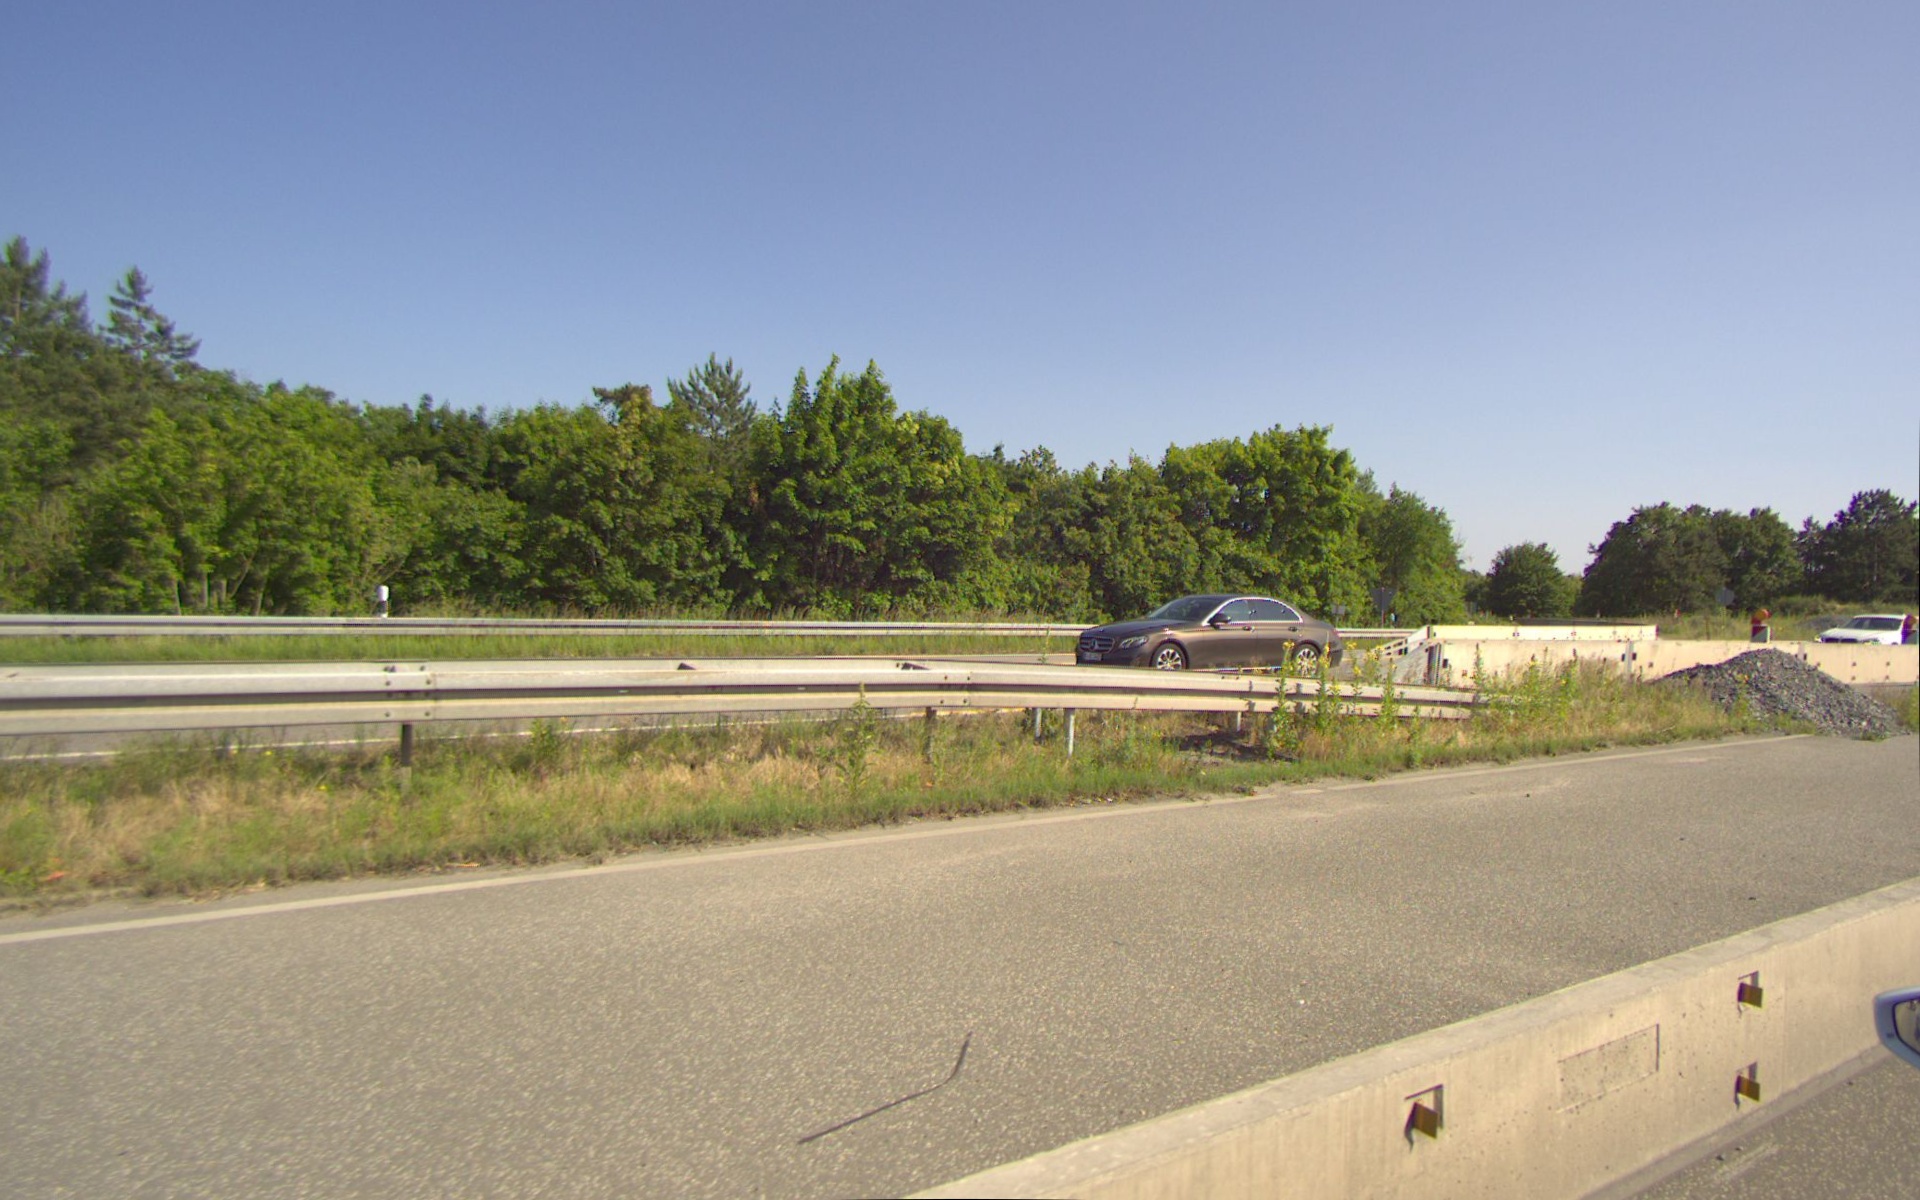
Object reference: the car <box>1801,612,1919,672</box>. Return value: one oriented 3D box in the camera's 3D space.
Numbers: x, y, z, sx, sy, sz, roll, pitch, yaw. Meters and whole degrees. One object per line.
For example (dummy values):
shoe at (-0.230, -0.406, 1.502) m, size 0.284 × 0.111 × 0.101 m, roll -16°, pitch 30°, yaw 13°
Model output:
car at (26.969, 1.205, 29.470) m, size 4.378 × 1.629 × 1.812 m, roll 1°, pitch 0°, yaw -25°

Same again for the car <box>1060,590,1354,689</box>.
car at (4.162, 0.623, 16.740) m, size 4.752 × 1.460 × 1.832 m, roll 1°, pitch -1°, yaw -28°
